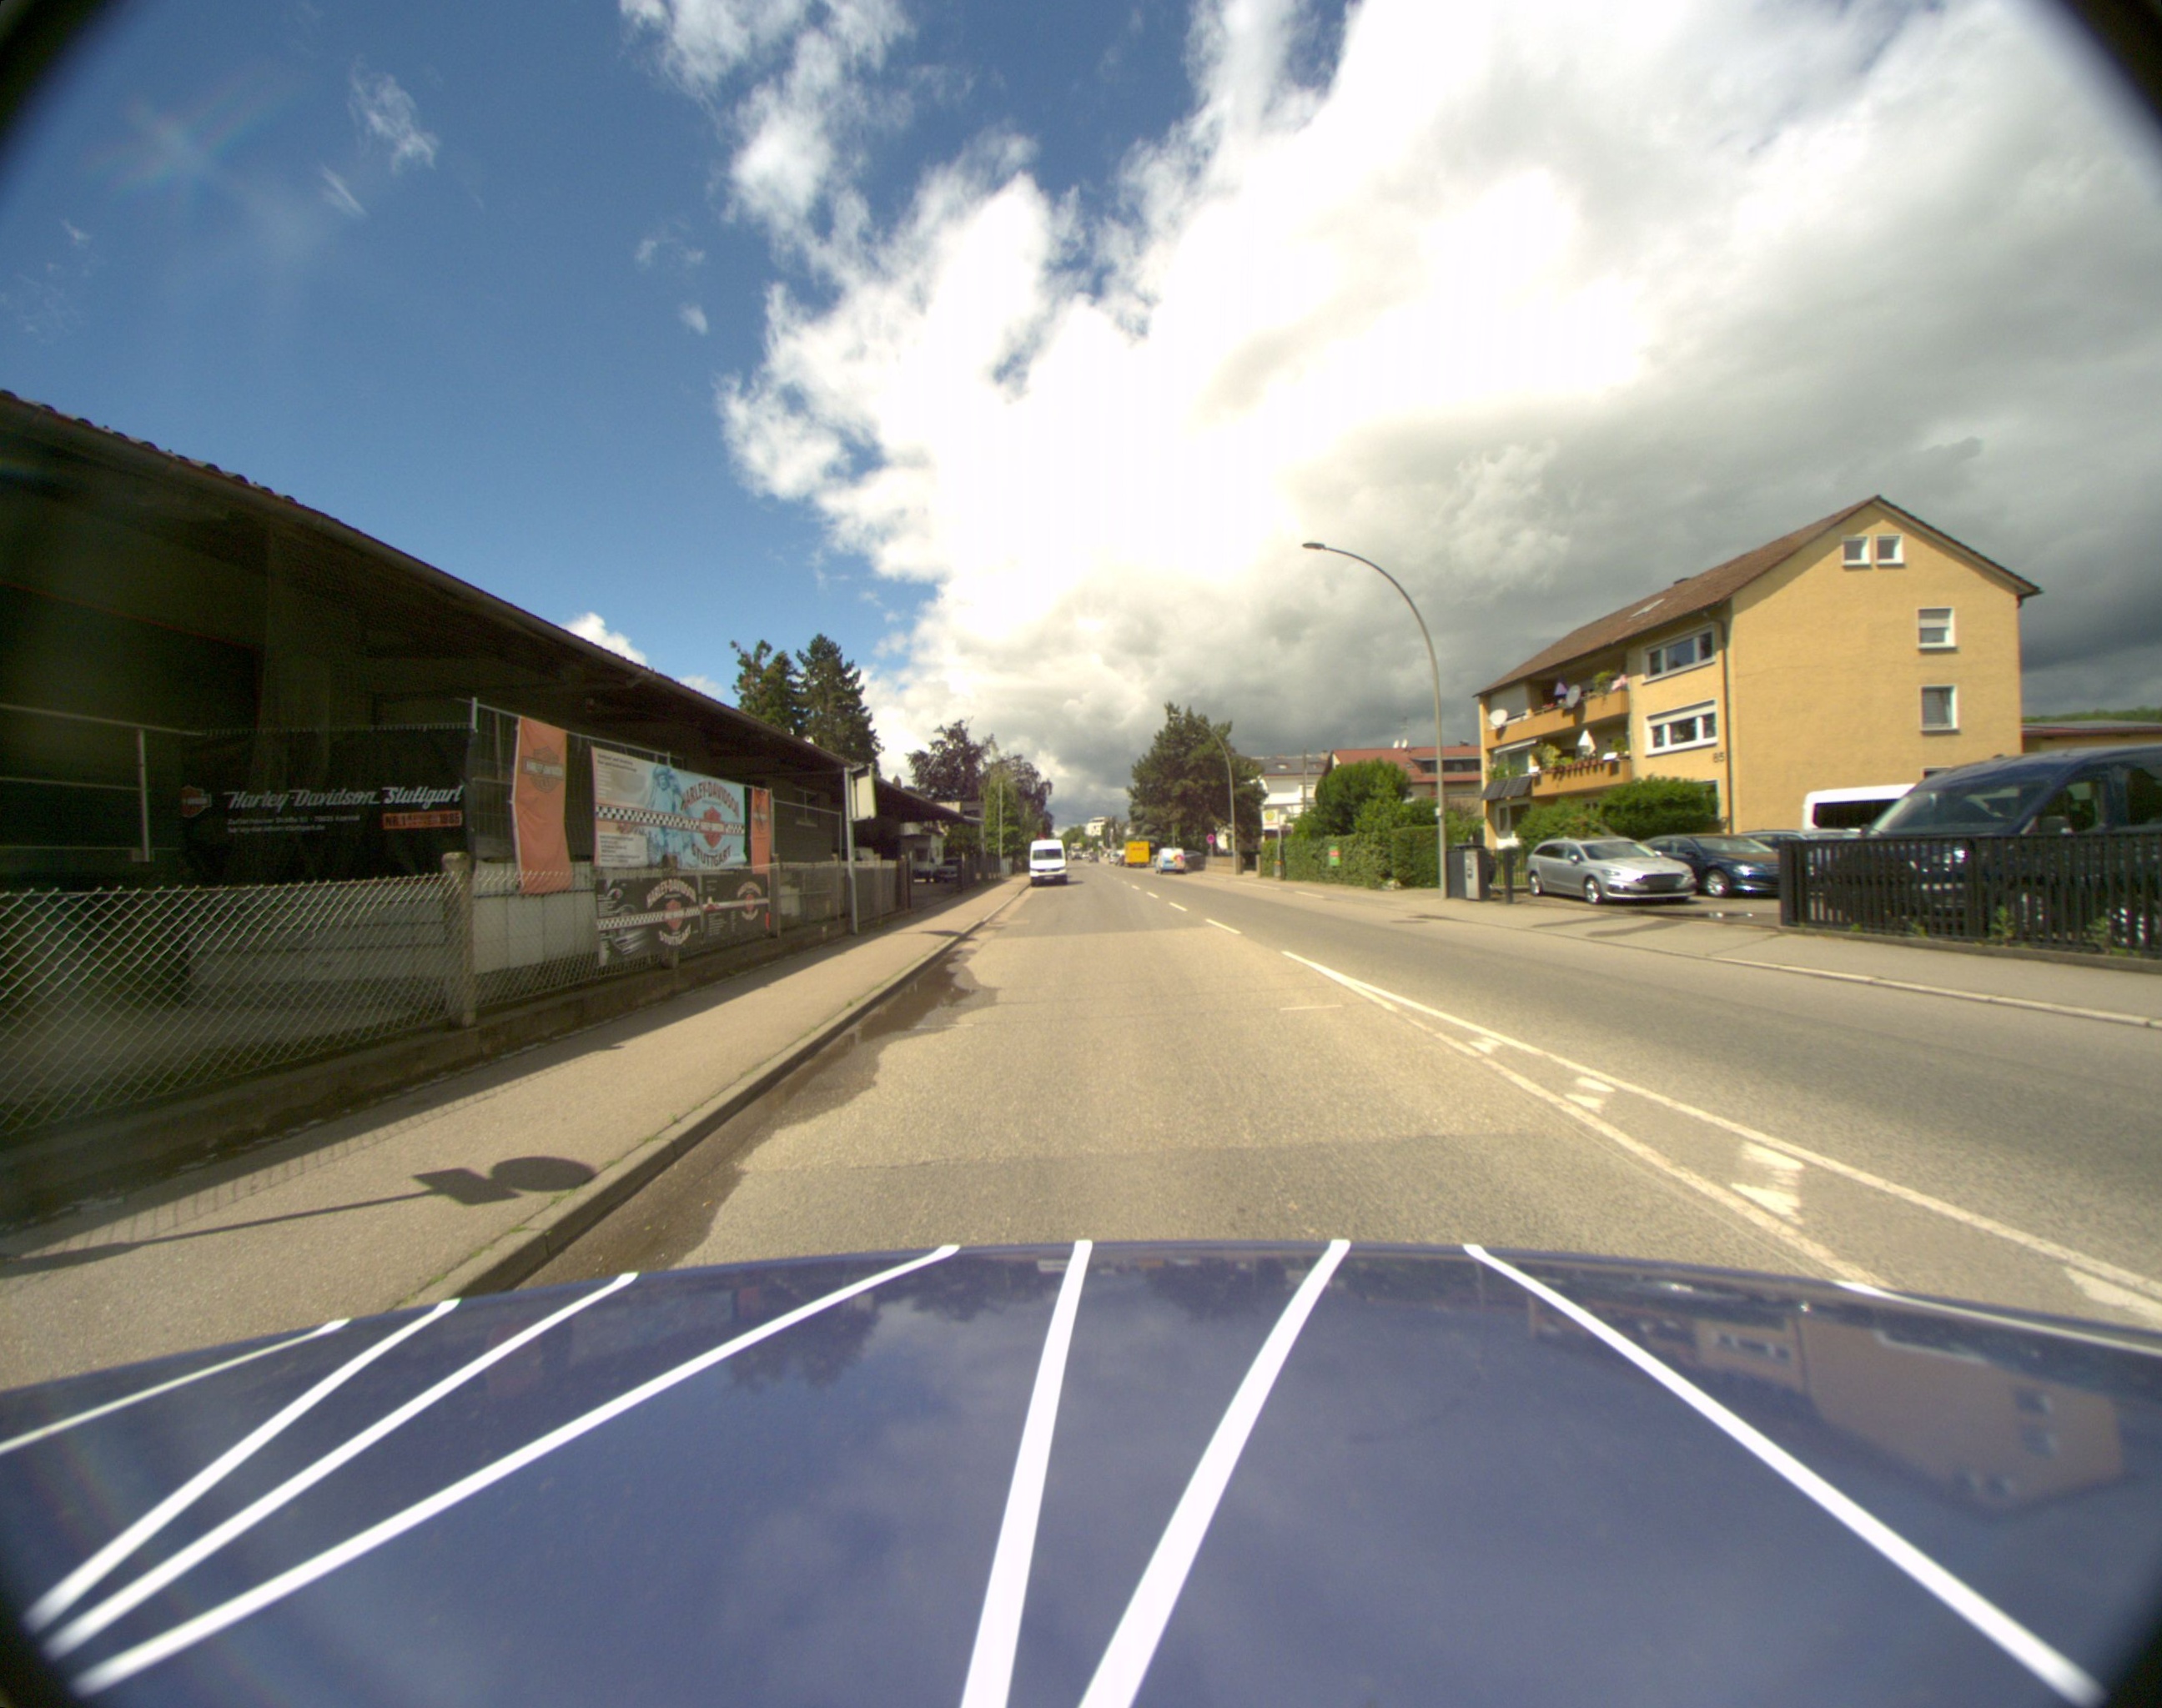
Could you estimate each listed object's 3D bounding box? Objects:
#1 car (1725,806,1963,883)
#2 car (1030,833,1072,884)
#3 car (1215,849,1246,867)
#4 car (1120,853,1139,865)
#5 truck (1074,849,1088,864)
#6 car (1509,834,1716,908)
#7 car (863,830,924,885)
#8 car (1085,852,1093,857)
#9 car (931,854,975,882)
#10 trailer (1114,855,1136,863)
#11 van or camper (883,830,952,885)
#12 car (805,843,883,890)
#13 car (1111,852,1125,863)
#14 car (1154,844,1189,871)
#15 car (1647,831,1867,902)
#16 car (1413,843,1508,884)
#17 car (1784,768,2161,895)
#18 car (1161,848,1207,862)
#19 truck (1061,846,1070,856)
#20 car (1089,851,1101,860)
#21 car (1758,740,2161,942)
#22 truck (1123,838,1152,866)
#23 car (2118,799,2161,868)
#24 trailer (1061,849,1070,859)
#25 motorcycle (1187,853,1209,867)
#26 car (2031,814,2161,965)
[{"bbox_3d":[17.800,-0.205,18.075,1.848,1.568,4.334,-1,0,11],"label":"car"},{"bbox_3d":[-1.711,0.227,43.763,2.221,2.673,6.656,-1,0,-2],"label":"car"},{"bbox_3d":[13.681,0.355,69.655,1.772,1.534,4.086,-2,0,-5],"label":"car"},{"bbox_3d":[5.954,0.570,93.265,1.999,1.445,4.811,2,0,-1],"label":"car"},{"bbox_3d":[-0.005,0.637,180.724,2.880,3.290,8.605,-4,1,-1],"label":"truck"},{"bbox_3d":[12.452,0.339,18.338,1.997,1.477,5.344,-2,0,10],"label":"car"},{"bbox_3d":[-9.972,0.224,40.901,2.023,2.665,5.497,-2,-1,-2],"label":"car"},{"bbox_3d":[2.172,0.104,205.721,1.987,1.412,3.999,-1,0,-3],"label":"car"},{"bbox_3d":[-7.446,0.813,44.747,1.769,1.480,4.926,-2,0,-1],"label":"car"},{"bbox_3d":[5.736,0.615,99.577,2.324,0.985,7.458,0,0,-1],"label":"trailer"},{"bbox_3d":[-9.923,0.206,46.926,2.889,3.043,6.911,-2,0,-2],"label":"van or camper"},{"bbox_3d":[-10.482,0.557,34.041,1.999,1.898,4.853,-2,0,-1],"label":"car"},{"bbox_3d":[5.665,0.460,117.177,1.809,1.666,4.127,0,0,-1],"label":"car"},{"bbox_3d":[6.571,0.292,55.665,1.838,1.842,4.895,1,-1,-1],"label":"car"},{"bbox_3d":[15.425,0.250,17.704,1.848,1.418,4.334,-1,0,11],"label":"car"},{"bbox_3d":[14.264,0.318,28.832,1.848,1.418,4.332,-2,0,7],"label":"car"},{"bbox_3d":[20.569,-0.452,17.925,2.418,2.481,6.135,0,0,2],"label":"car"},{"bbox_3d":[11.927,0.105,87.986,5.021,1.543,1.972,-2,1,-2],"label":"car"},{"bbox_3d":[-4.607,-0.946,228.884,2.411,2.722,6.639,-4,1,-1],"label":"truck"},{"bbox_3d":[2.553,0.252,137.841,1.906,1.509,4.317,-1,0,-2],"label":"car"},{"bbox_3d":[13.842,-0.208,10.916,6.053,2.482,2.477,-2,0,-1],"label":"car"},{"bbox_3d":[6.308,-0.200,85.558,2.330,2.986,7.816,0,0,-2],"label":"truck"},{"bbox_3d":[28.638,-0.538,18.149,1.849,1.781,4.330,-2,0,0],"label":"car"},{"bbox_3d":[-3.579,-0.053,177.281,2.045,2.214,5.078,-1,0,0],"label":"trailer"},{"bbox_3d":[10.568,0.517,68.466,1.872,1.159,0.825,-2,0,16],"label":"motorcycle"},{"bbox_3d":[12.441,0.347,6.951,2.037,1.585,4.283,-2,0,-4],"label":"car"}]
